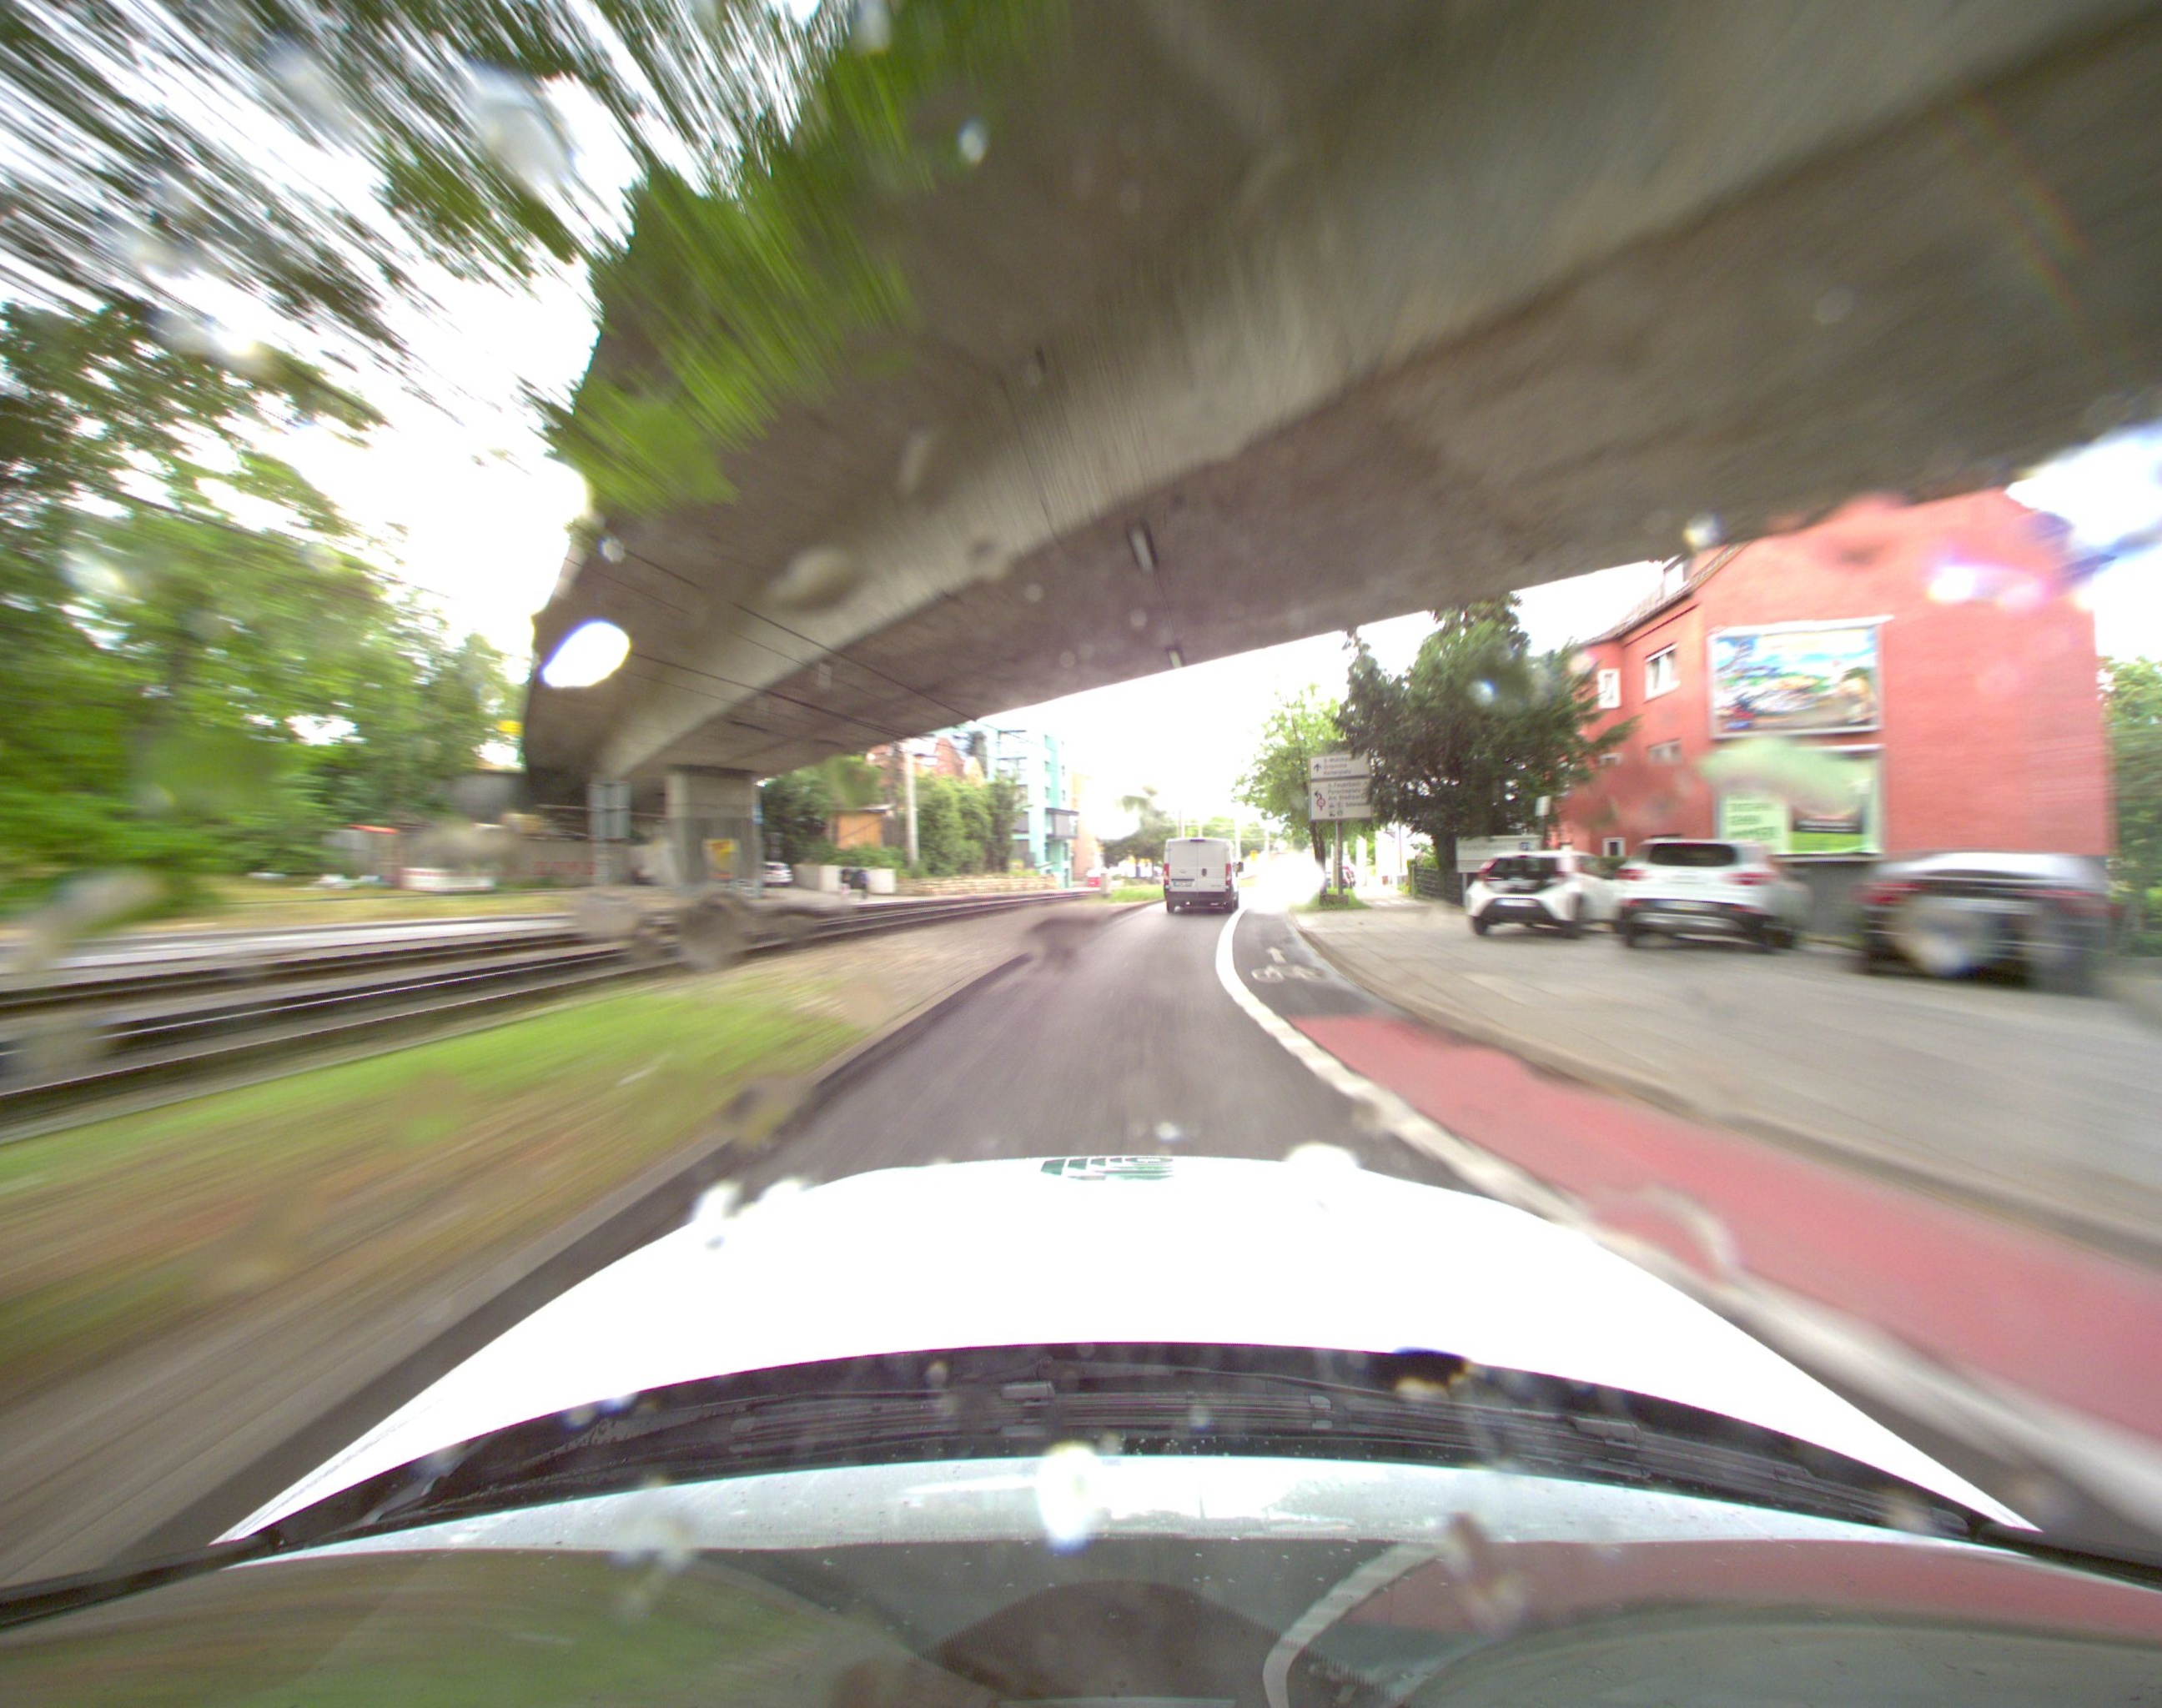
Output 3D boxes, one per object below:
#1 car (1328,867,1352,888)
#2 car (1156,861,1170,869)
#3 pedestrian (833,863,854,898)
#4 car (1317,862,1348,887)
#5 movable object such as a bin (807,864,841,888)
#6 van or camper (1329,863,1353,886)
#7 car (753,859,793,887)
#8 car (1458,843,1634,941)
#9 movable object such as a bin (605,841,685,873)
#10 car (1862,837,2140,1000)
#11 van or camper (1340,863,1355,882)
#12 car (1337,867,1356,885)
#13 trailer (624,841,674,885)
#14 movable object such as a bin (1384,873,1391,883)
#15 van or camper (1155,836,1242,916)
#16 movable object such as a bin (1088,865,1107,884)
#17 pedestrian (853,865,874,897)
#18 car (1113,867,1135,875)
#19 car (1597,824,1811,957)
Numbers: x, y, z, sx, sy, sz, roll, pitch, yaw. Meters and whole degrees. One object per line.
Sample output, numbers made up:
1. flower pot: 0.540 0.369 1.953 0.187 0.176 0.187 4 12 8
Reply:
1. car: 18.996 1.722 59.654 1.565 1.452 3.737 -1 -3 20
2. car: 16.155 2.171 160.558 1.979 1.442 4.016 1 -1 15
3. pedestrian: -12.718 1.426 43.567 0.688 1.831 0.870 0 0 18
4. car: 15.218 1.243 49.150 1.663 1.423 4.587 0 -1 19
5. movable object such as a bin: -16.647 1.390 52.772 1.569 1.479 1.782 1 0 -38
6. van or camper: 22.428 1.755 70.165 1.836 1.920 5.017 -1 -2 18
7. car: -20.110 1.204 53.162 1.726 1.667 3.164 2 0 -34
8. car: 8.449 0.608 14.677 3.757 1.522 1.780 0 -1 -44
9. movable object such as a bin: -35.200 0.243 65.965 2.607 2.453 5.484 0 -1 15
10. car: 10.182 0.571 9.233 4.073 1.439 1.765 0 0 -44
11. van or camper: 37.896 2.565 115.854 1.978 2.563 6.070 1 0 17
12. car: 27.715 2.271 84.991 1.825 1.800 4.707 1 -1 17
13. trailer: -27.591 0.575 51.979 2.010 2.725 4.075 1 -1 -40
14. movable object such as a bin: 29.003 2.266 77.021 0.582 0.879 0.450 -1 -2 16
15. van or camper: 3.811 0.678 25.673 2.183 2.253 4.701 1 -1 14
16. movable object such as a bin: 2.027 2.508 100.405 2.121 2.157 1.807 1 0 9
17. pedestrian: -11.613 1.436 43.549 0.687 1.670 0.892 0 0 20
18. car: 7.531 2.984 142.657 3.762 1.453 1.548 0 0 -8
19. car: 9.366 0.457 12.125 4.047 1.631 1.943 0 -1 -44
